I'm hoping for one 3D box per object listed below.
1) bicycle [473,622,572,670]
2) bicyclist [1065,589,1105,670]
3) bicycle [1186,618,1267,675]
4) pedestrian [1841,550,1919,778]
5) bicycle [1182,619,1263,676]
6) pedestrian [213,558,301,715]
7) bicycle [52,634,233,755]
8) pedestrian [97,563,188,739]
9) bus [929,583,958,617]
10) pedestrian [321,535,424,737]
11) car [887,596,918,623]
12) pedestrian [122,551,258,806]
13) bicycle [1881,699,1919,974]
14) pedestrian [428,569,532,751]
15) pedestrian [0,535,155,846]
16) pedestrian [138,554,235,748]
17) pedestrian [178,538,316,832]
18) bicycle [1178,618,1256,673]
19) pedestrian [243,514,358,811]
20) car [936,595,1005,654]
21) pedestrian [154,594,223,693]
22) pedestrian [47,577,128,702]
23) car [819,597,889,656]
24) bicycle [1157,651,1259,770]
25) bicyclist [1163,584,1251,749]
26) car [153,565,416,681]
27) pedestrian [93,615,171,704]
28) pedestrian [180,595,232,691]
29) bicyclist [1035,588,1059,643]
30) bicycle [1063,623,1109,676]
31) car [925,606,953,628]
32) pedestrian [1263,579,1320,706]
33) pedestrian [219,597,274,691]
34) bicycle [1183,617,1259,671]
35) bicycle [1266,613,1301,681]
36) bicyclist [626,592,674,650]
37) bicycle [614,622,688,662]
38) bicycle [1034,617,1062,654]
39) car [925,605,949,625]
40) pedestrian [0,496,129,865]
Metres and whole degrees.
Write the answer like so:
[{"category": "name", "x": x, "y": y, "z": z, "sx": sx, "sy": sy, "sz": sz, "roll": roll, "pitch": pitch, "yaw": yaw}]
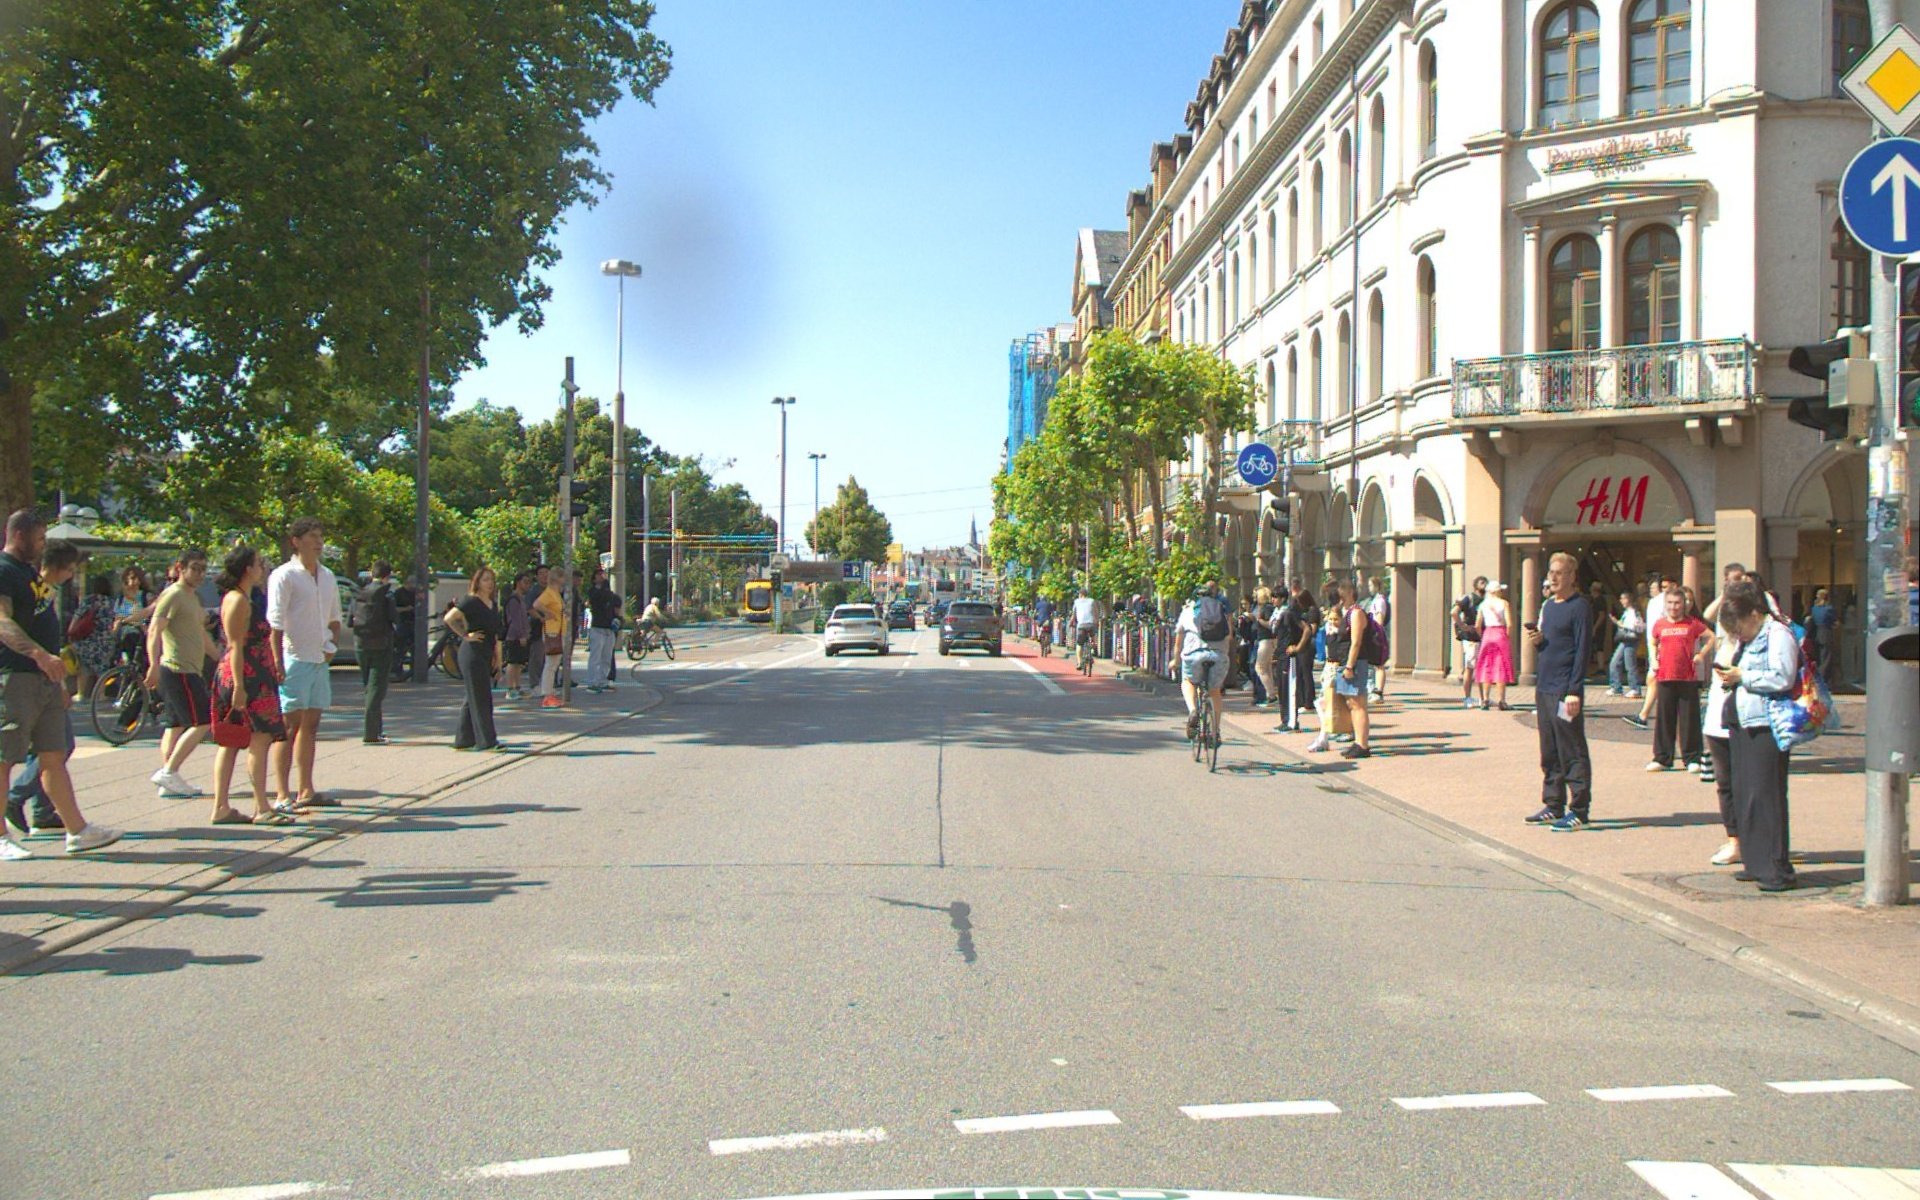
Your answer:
[{"category": "bicycle", "x": -9.502, "y": 0.988, "z": 35.980, "sx": 2.045, "sy": 0.997, "sz": 0.682, "roll": 0, "pitch": -1, "yaw": -13}, {"category": "bicyclist", "x": 2.605, "y": 0.612, "z": 34.435, "sx": 0.758, "sy": 1.664, "sz": 0.851, "roll": 0, "pitch": 0, "yaw": -1}, {"category": "bicycle", "x": 4.890, "y": 0.853, "z": 30.382, "sx": 1.391, "sy": 0.997, "sz": 0.445, "roll": -1, "pitch": 1, "yaw": 0}, {"category": "pedestrian", "x": 7.998, "y": 0.529, "z": 13.756, "sx": 0.644, "sy": 1.821, "sz": 1.232, "roll": 0, "pitch": -2, "yaw": -1}, {"category": "bicycle", "x": 4.748, "y": 0.855, "z": 29.918, "sx": 1.391, "sy": 0.997, "sz": 0.445, "roll": -1, "pitch": 1, "yaw": 0}, {"category": "pedestrian", "x": -8.415, "y": 0.430, "z": 19.811, "sx": 0.619, "sy": 1.842, "sz": 0.731, "roll": 0, "pitch": -1, "yaw": 20}, {"category": "bicycle", "x": -7.826, "y": 0.873, "z": 15.938, "sx": 0.479, "sy": 1.047, "sz": 1.936, "roll": 0, "pitch": 0, "yaw": 11}, {"category": "pedestrian", "x": -8.315, "y": 0.512, "z": 16.838, "sx": 0.564, "sy": 1.741, "sz": 0.606, "roll": 2, "pitch": -1, "yaw": 1}, {"category": "bus", "x": -1.867, "y": -0.003, "z": 183.990, "sx": 2.934, "sy": 3.657, "sz": 11.740, "roll": 0, "pitch": 0, "yaw": -2}, {"category": "pedestrian", "x": -5.644, "y": 0.340, "z": 15.899, "sx": 0.619, "sy": 1.891, "sz": 0.687, "roll": 0, "pitch": -1, "yaw": 20}, {"category": "car", "x": -3.480, "y": 0.562, "z": 100.749, "sx": 1.808, "sy": 1.587, "sz": 3.999, "roll": 0, "pitch": 0, "yaw": -2}, {"category": "pedestrian", "x": -5.479, "y": 0.538, "z": 11.802, "sx": 0.572, "sy": 1.752, "sz": 0.789, "roll": 0, "pitch": 0, "yaw": 1}, {"category": "bicycle", "x": 4.617, "y": 0.969, "z": 6.335, "sx": 0.595, "sy": 1.101, "sz": 1.816, "roll": -2, "pitch": 0, "yaw": -35}, {"category": "pedestrian", "x": -4.390, "y": 0.534, "z": 15.146, "sx": 0.619, "sy": 1.623, "sz": 0.687, "roll": 0, "pitch": -1, "yaw": 20}, {"category": "pedestrian", "x": -5.277, "y": 0.524, "z": 9.866, "sx": 0.564, "sy": 1.778, "sz": 0.653, "roll": 2, "pitch": -1, "yaw": 1}, {"category": "pedestrian", "x": -7.434, "y": 0.484, "z": 15.919, "sx": 0.564, "sy": 1.811, "sz": 0.606, "roll": 2, "pitch": -1, "yaw": 5}, {"category": "pedestrian", "x": -4.475, "y": 0.518, "z": 10.409, "sx": 0.564, "sy": 1.789, "sz": 0.638, "roll": 0, "pitch": -1, "yaw": 1}, {"category": "bicycle", "x": 4.863, "y": 0.853, "z": 31.329, "sx": 1.391, "sy": 0.997, "sz": 0.445, "roll": -1, "pitch": 1, "yaw": 0}, {"category": "pedestrian", "x": -4.450, "y": 0.414, "z": 11.183, "sx": 0.521, "sy": 1.953, "sz": 0.560, "roll": 0, "pitch": -1, "yaw": 1}, {"category": "car", "x": 0.268, "y": 0.677, "z": 47.952, "sx": 1.808, "sy": 1.586, "sz": 3.998, "roll": 0, "pitch": 0, "yaw": -3}, {"category": "pedestrian", "x": -11.098, "y": 0.621, "z": 23.800, "sx": 0.717, "sy": 1.410, "sz": 0.664, "roll": 1, "pitch": -1, "yaw": -8}, {"category": "pedestrian", "x": -11.304, "y": 0.503, "z": 21.437, "sx": 0.619, "sy": 1.593, "sz": 0.665, "roll": 0, "pitch": -1, "yaw": 20}, {"category": "car", "x": -3.040, "y": 0.738, "z": 48.255, "sx": 1.808, "sy": 1.587, "sz": 4.000, "roll": -1, "pitch": 0, "yaw": -1}, {"category": "bicycle", "x": 2.344, "y": 1.024, "z": 15.848, "sx": 0.617, "sy": 0.997, "sz": 2.002, "roll": 1, "pitch": 0, "yaw": -2}, {"category": "bicyclist", "x": 2.349, "y": 0.610, "z": 15.829, "sx": 0.617, "sy": 1.507, "sz": 1.198, "roll": 1, "pitch": 0, "yaw": -2}, {"category": "car", "x": -12.477, "y": 0.413, "z": 30.912, "sx": 1.820, "sy": 1.989, "sz": 4.762, "roll": 0, "pitch": 0, "yaw": 20}, {"category": "pedestrian", "x": -11.045, "y": 0.784, "z": 22.073, "sx": 0.619, "sy": 1.164, "sz": 0.665, "roll": 0, "pitch": -1, "yaw": 20}, {"category": "pedestrian", "x": -11.183, "y": 0.632, "z": 24.547, "sx": 0.649, "sy": 1.410, "sz": 0.661, "roll": 1, "pitch": -1, "yaw": -22}, {"category": "bicyclist", "x": 2.511, "y": 0.455, "z": 47.988, "sx": 0.634, "sy": 1.578, "sz": 0.817, "roll": 0, "pitch": 0, "yaw": -1}, {"category": "bicycle", "x": 2.607, "y": 1.009, "z": 34.454, "sx": 0.758, "sy": 1.023, "sz": 2.329, "roll": 0, "pitch": 0, "yaw": -1}, {"category": "car", "x": -1.471, "y": 1.161, "z": 114.662, "sx": 1.808, "sy": 1.438, "sz": 3.999, "roll": 0, "pitch": 0, "yaw": -2}, {"category": "pedestrian", "x": 4.591, "y": 0.580, "z": 22.944, "sx": 0.571, "sy": 1.703, "sz": 0.605, "roll": -3, "pitch": 0, "yaw": -3}, {"category": "pedestrian", "x": -10.987, "y": 0.668, "z": 25.465, "sx": 0.652, "sy": 1.410, "sz": 0.657, "roll": 1, "pitch": -1, "yaw": -35}, {"category": "bicycle", "x": 5.010, "y": 0.851, "z": 31.767, "sx": 1.391, "sy": 0.997, "sz": 0.401, "roll": -1, "pitch": 1, "yaw": 0}, {"category": "bicycle", "x": 5.742, "y": 0.820, "z": 29.347, "sx": 0.391, "sy": 1.133, "sz": 1.425, "roll": -1, "pitch": 1, "yaw": 20}, {"category": "bicyclist", "x": -8.317, "y": 0.558, "z": 44.345, "sx": 1.043, "sy": 1.529, "sz": 0.729, "roll": 1, "pitch": 0, "yaw": -43}, {"category": "bicycle", "x": -8.273, "y": 1.110, "z": 44.370, "sx": 0.667, "sy": 1.044, "sz": 1.956, "roll": 0, "pitch": 0, "yaw": 42}, {"category": "bicycle", "x": 2.536, "y": 1.004, "z": 47.846, "sx": 0.634, "sy": 1.015, "sz": 2.030, "roll": 1, "pitch": 0, "yaw": -1}, {"category": "car", "x": -1.761, "y": 1.157, "z": 125.892, "sx": 1.808, "sy": 1.438, "sz": 3.999, "roll": 0, "pitch": 0, "yaw": -2}, {"category": "pedestrian", "x": -5.010, "y": 0.420, "z": 9.013, "sx": 0.564, "sy": 1.924, "sz": 0.653, "roll": 2, "pitch": -1, "yaw": 1}]
